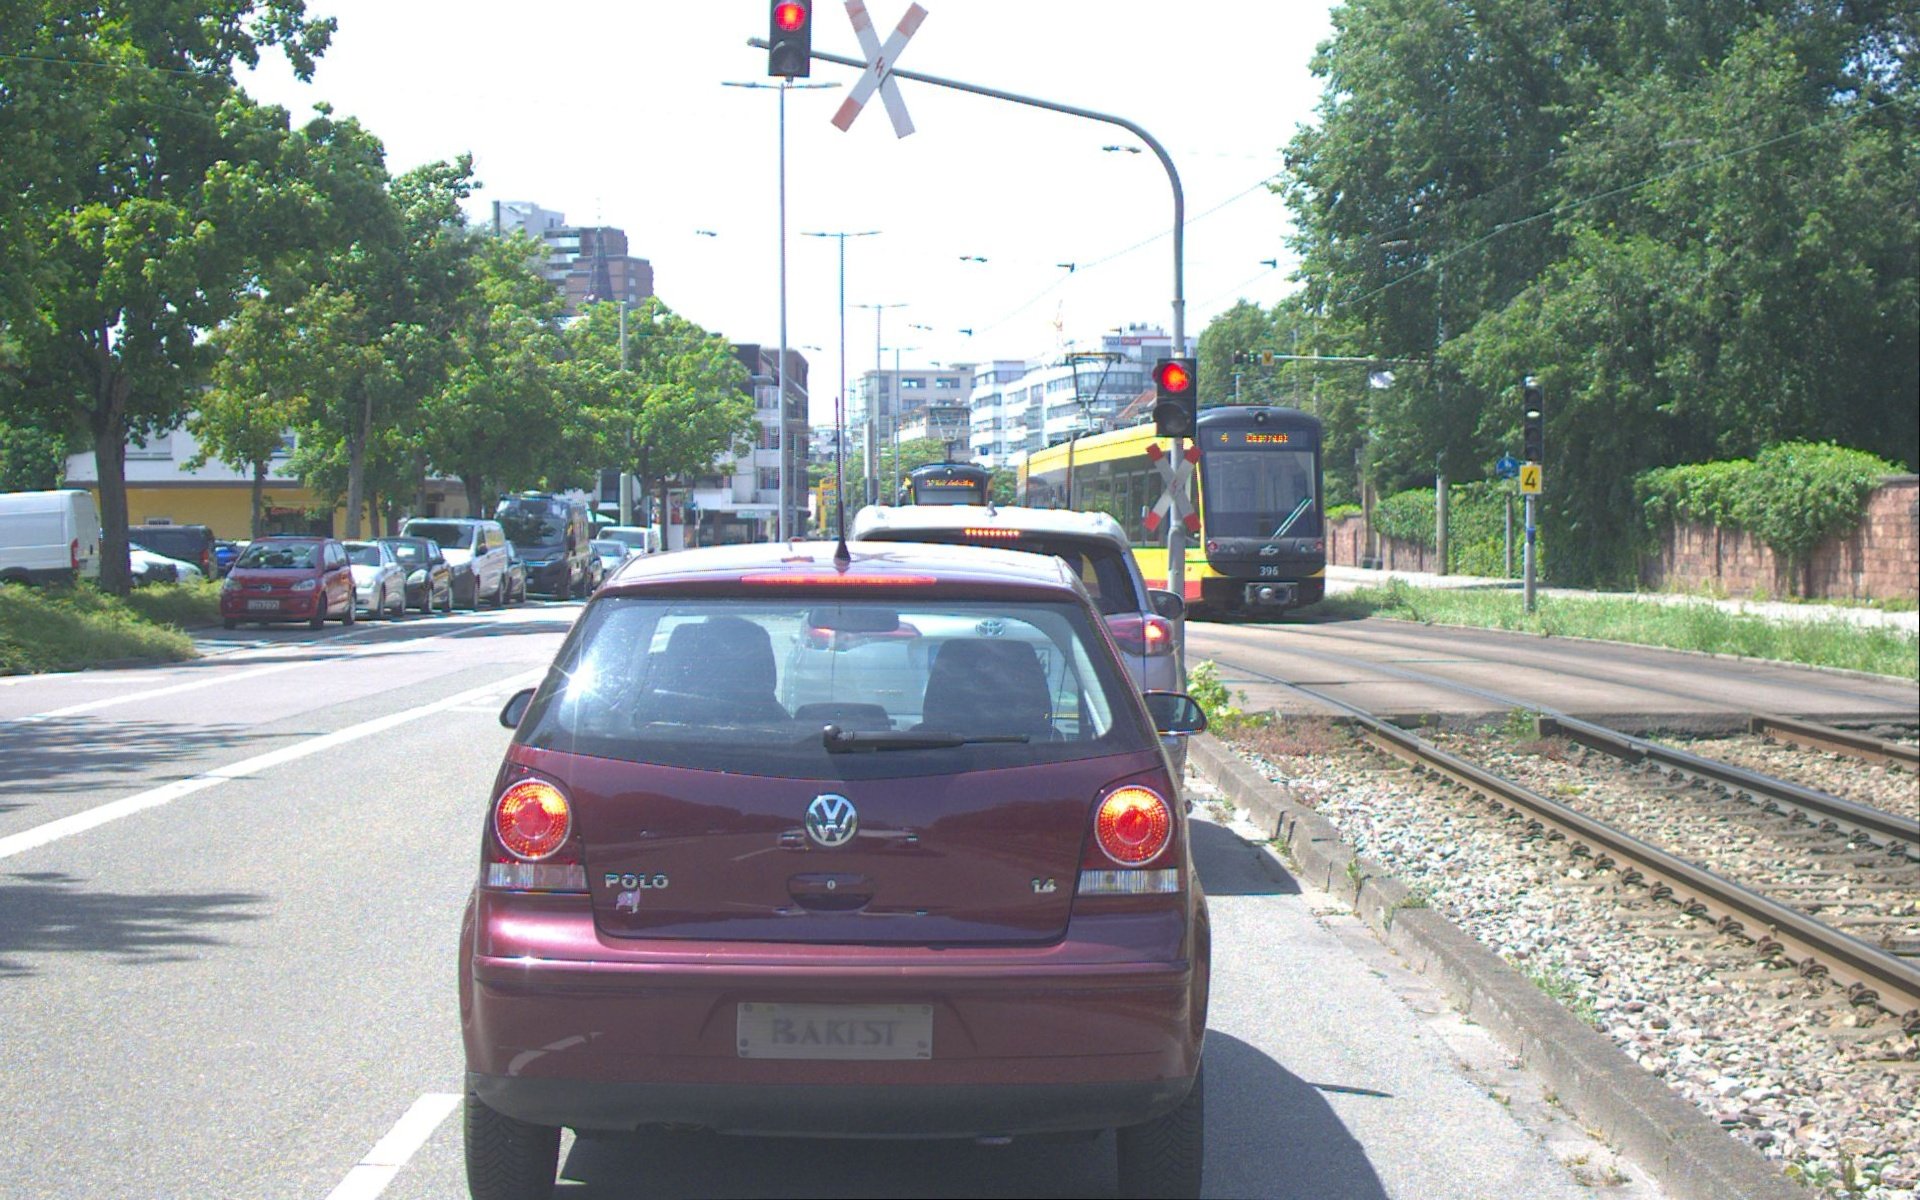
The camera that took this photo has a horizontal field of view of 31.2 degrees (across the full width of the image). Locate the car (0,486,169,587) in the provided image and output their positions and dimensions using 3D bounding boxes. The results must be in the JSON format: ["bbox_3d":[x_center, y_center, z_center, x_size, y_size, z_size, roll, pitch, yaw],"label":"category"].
[{"bbox_3d":[-21.482,-1.505,80.883,5.097,2.237,2.378,2,0,1],"label":"car"}]

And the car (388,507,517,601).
[{"bbox_3d":[-10.728,-0.967,72.988,1.783,1.875,4.785,2,0,2],"label":"car"}]

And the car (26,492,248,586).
[{"bbox_3d":[-21.298,-1.572,89.138,5.097,2.237,2.378,2,0,1],"label":"car"}]

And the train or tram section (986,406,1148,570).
[{"bbox_3d":[2.531,-2.767,86.125,3.028,3.785,12.762,0,1,-3],"label":"train or tram section"}]

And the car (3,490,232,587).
[{"bbox_3d":[-21.173,-1.545,86.541,5.097,2.237,2.378,2,0,1],"label":"car"}]

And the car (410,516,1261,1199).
[{"bbox_3d":[-0.294,0.564,8.895,1.672,1.516,4.000,1,1,-1],"label":"car"}]

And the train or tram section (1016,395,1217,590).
[{"bbox_3d":[3.144,-2.246,73.308,3.028,3.785,13.092,0,1,-3],"label":"train or tram section"}]

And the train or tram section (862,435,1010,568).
[{"bbox_3d":[-0.835,-2.922,101.762,2.740,3.597,12.873,2,1,-7],"label":"train or tram section"}]

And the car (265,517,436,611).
[{"bbox_3d":[-11.065,-0.650,62.752,1.976,1.595,4.557,2,0,4],"label":"car"}]

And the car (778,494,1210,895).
[{"bbox_3d":[0.097,0.351,16.439,1.777,1.641,4.001,1,1,-1],"label":"car"}]

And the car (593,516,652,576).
[{"bbox_3d":[-10.718,-1.698,109.310,1.774,1.822,4.001,2,0,-6],"label":"car"}]

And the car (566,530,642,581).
[{"bbox_3d":[-10.690,-1.333,103.398,1.614,1.436,4.000,2,0,3],"label":"car"}]

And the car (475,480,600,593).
[{"bbox_3d":[-10.526,-1.560,86.024,2.361,2.683,5.307,2,0,0],"label":"car"}]

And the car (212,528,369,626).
[{"bbox_3d":[-10.894,-0.381,56.205,1.663,1.491,4.000,2,0,1],"label":"car"}]

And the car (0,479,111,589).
[{"bbox_3d":[-20.867,-1.441,72.858,5.097,2.237,2.378,2,0,1],"label":"car"}]

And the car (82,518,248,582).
[{"bbox_3d":[-21.612,-1.358,93.549,4.020,1.611,1.816,2,0,1],"label":"car"}]

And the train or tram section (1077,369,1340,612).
[{"bbox_3d":[4.114,-1.870,60.315,3.028,3.785,13.092,0,1,-3],"label":"train or tram section"}]

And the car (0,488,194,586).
[{"bbox_3d":[-21.585,-1.536,84.029,5.097,2.237,2.378,2,0,1],"label":"car"}]
